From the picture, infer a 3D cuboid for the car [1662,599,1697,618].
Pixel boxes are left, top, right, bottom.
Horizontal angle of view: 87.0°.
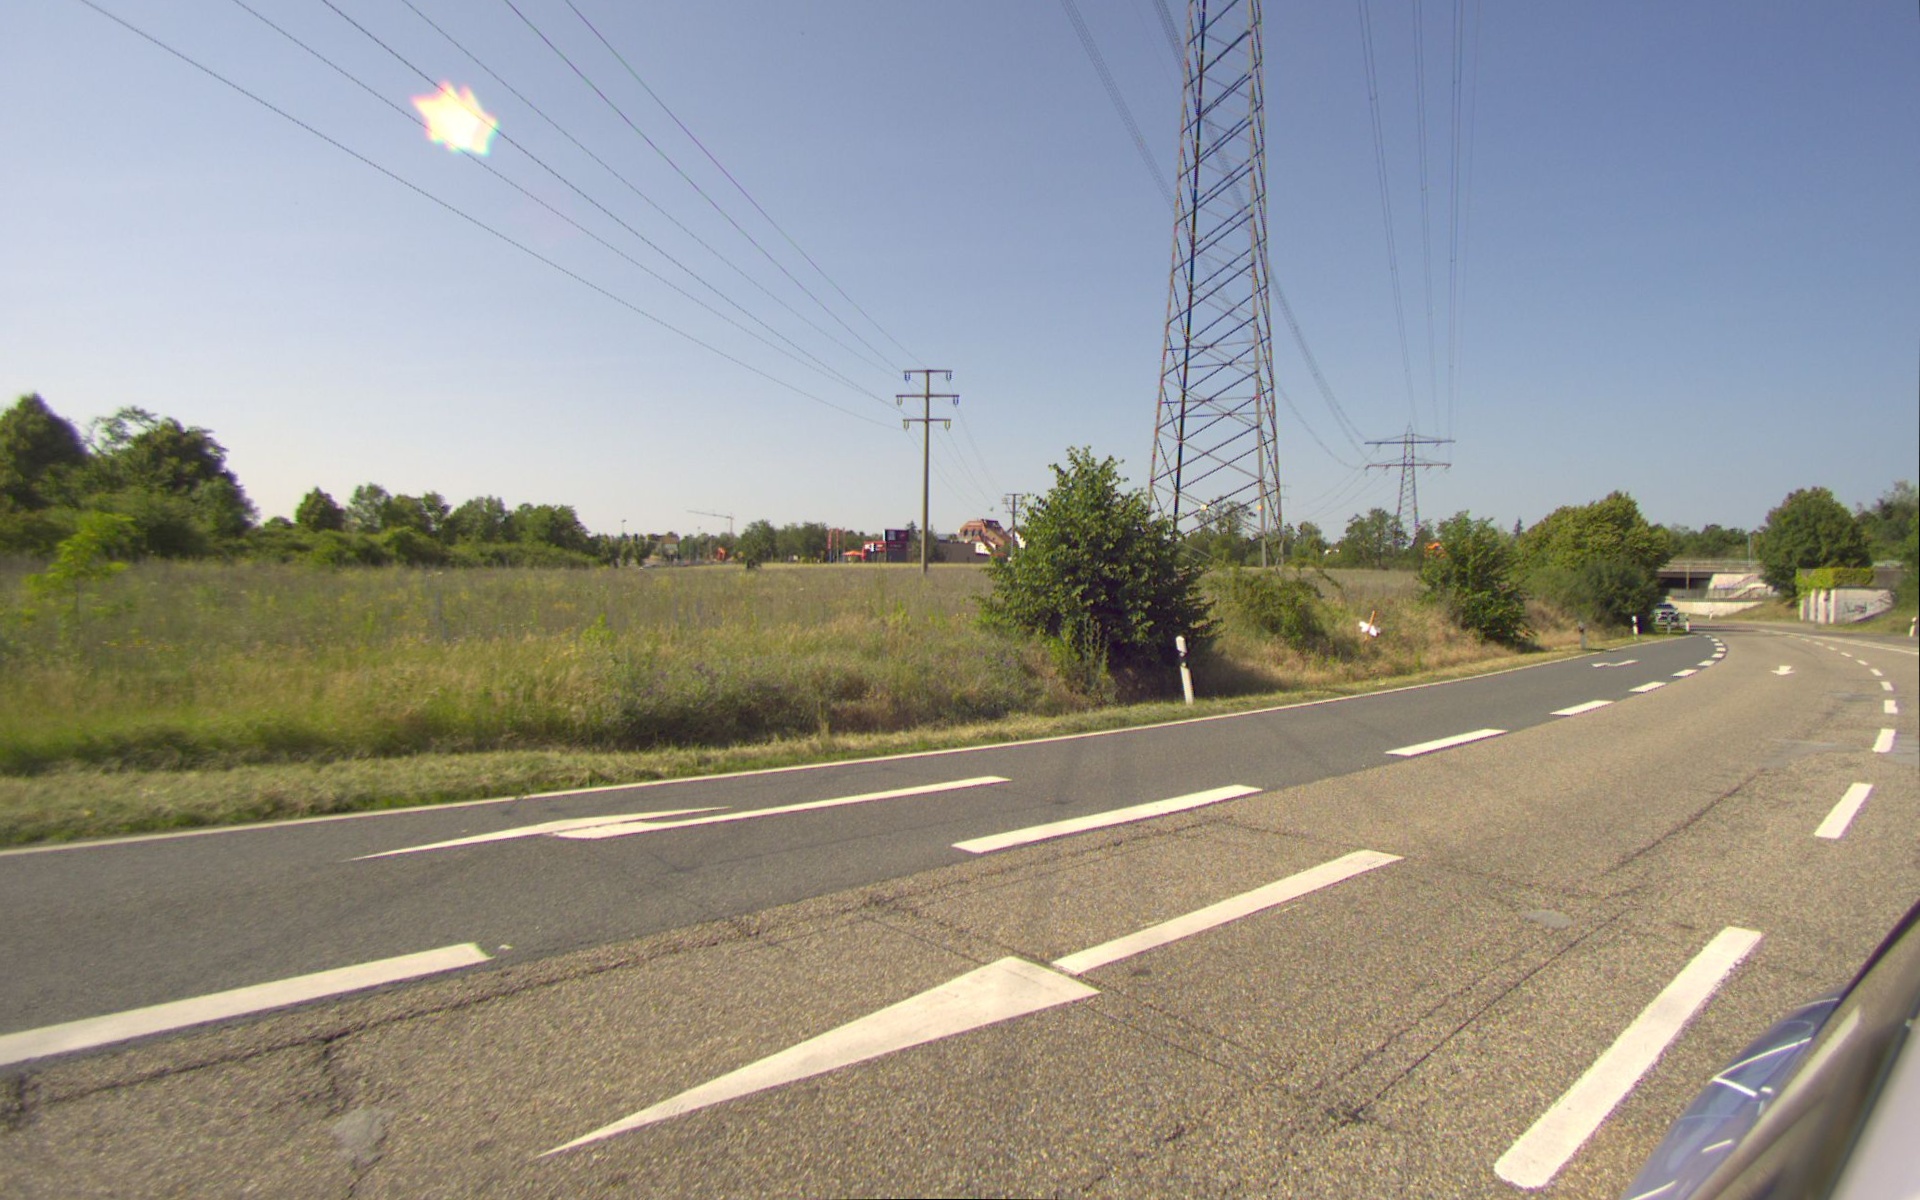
[{"bbox_3d":[63.634,0.718,89.550,1.841,1.639,3.617,1,0,24],"label":"car"}]
